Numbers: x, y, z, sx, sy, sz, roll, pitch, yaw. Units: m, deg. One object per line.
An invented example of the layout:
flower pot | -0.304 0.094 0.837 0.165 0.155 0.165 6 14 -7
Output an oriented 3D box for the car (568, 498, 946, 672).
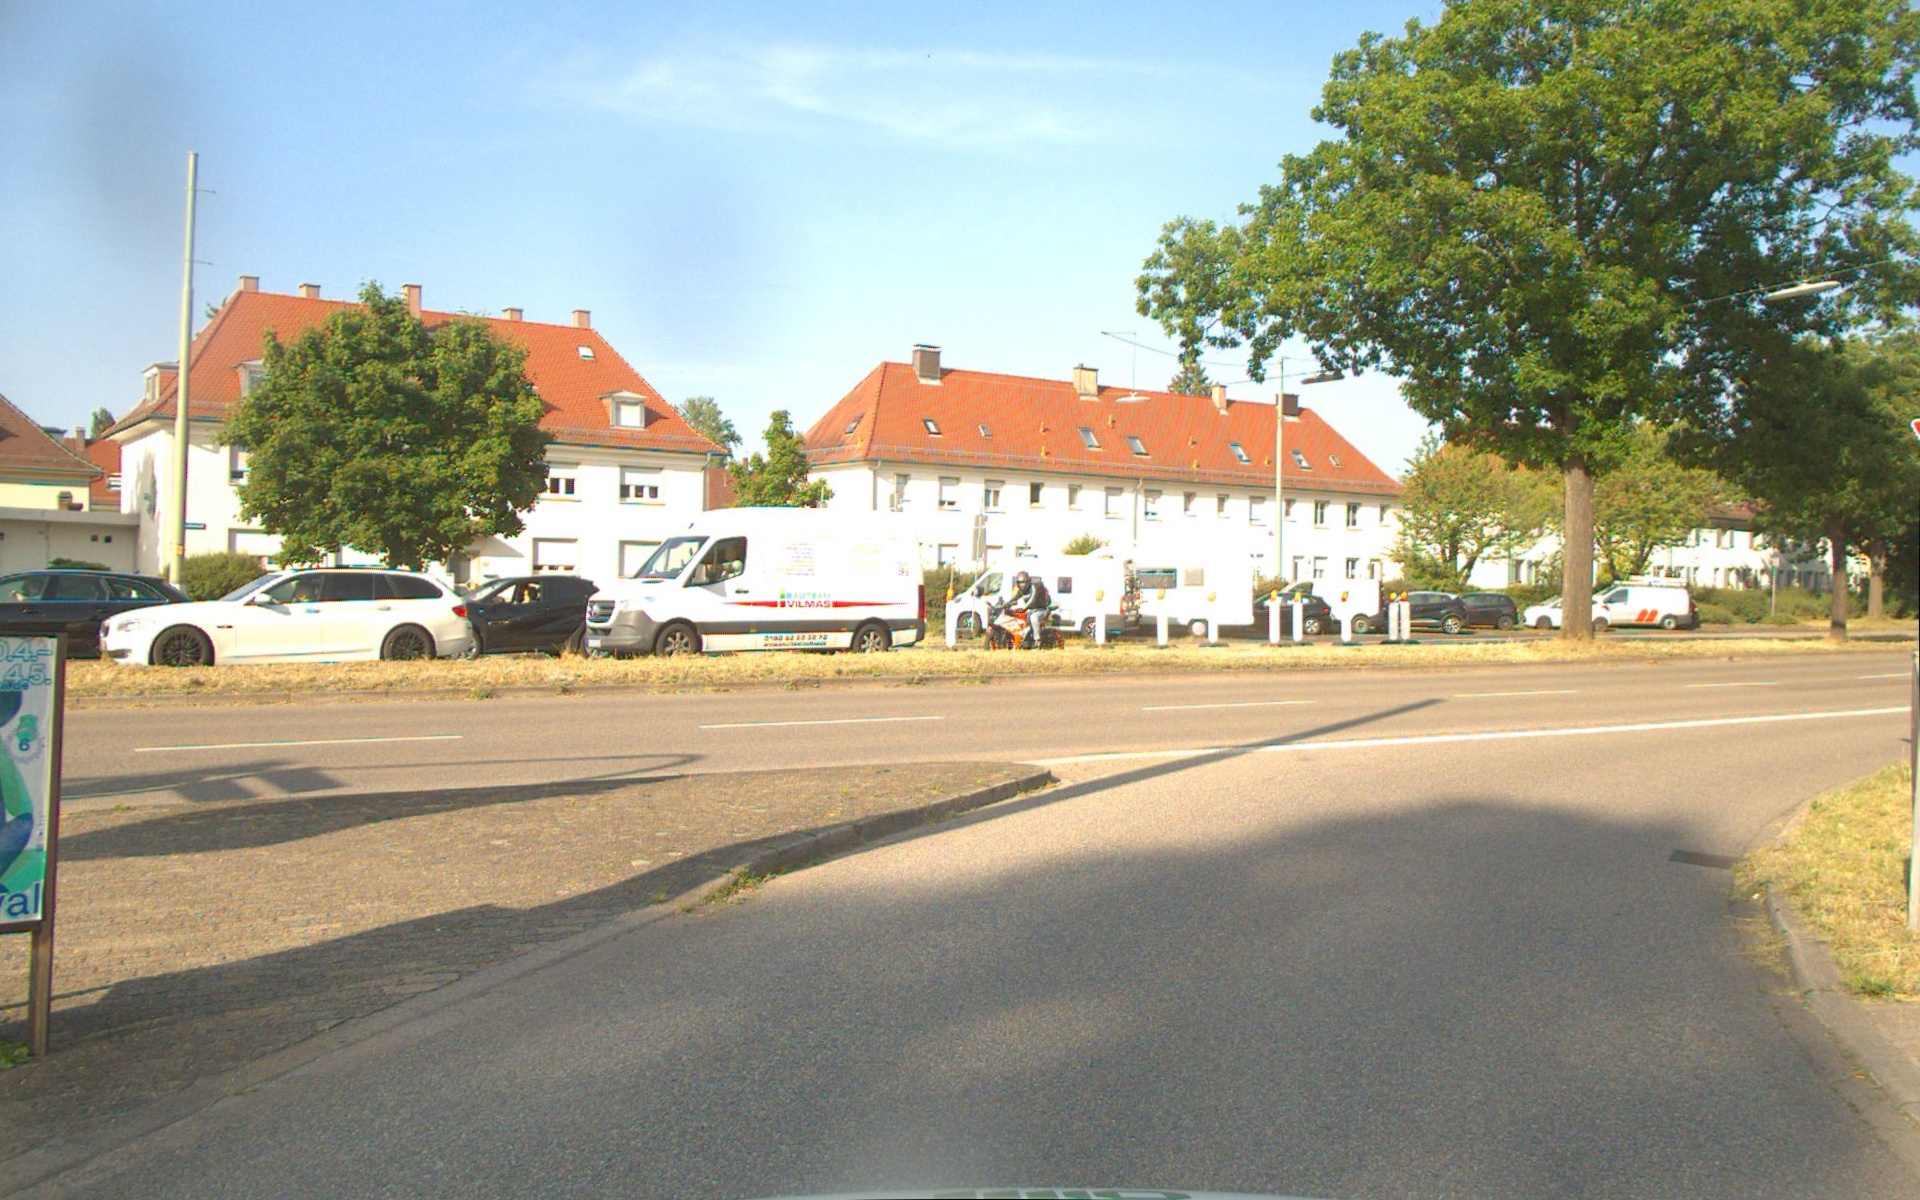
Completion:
car | -3.292 -0.222 27.766 6.161 2.629 1.974 0 0 -37

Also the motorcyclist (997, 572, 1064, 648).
motorcyclist | 1.289 0.176 30.227 1.058 1.375 0.671 1 0 -38

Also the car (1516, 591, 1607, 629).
car | 25.311 0.398 69.710 3.348 1.540 1.898 0 0 11

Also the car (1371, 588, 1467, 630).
car | 17.574 0.330 63.407 3.413 1.540 1.898 0 0 11

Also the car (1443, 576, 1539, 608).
car | 29.690 -0.431 92.642 1.979 1.749 4.914 0 0 -37

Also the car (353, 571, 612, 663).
car | -8.137 0.267 28.314 3.956 1.478 1.694 0 0 -36

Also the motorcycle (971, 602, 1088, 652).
motorcycle | 1.287 0.482 30.233 2.255 0.882 0.681 0 0 -38

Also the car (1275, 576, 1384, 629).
car | 13.762 0.086 61.763 3.813 1.953 1.897 0 0 7

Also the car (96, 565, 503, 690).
car | -9.192 0.344 23.244 5.055 1.590 1.816 0 0 -36

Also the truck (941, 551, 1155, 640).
truck | 2.730 -0.178 51.337 6.204 2.568 2.278 1 0 19

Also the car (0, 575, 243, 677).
car | -13.372 0.361 24.538 4.786 1.436 1.694 0 0 -36

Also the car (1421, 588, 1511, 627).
car | 20.784 0.298 68.041 3.348 1.540 1.898 0 0 11

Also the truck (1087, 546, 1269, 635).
truck | 7.295 -0.336 55.464 5.930 2.904 1.897 0 0 7

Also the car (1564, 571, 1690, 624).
car | 29.651 -0.116 73.602 4.857 2.271 2.002 0 0 8

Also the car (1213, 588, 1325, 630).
car | 11.129 0.304 59.817 3.814 1.481 1.897 0 0 4
